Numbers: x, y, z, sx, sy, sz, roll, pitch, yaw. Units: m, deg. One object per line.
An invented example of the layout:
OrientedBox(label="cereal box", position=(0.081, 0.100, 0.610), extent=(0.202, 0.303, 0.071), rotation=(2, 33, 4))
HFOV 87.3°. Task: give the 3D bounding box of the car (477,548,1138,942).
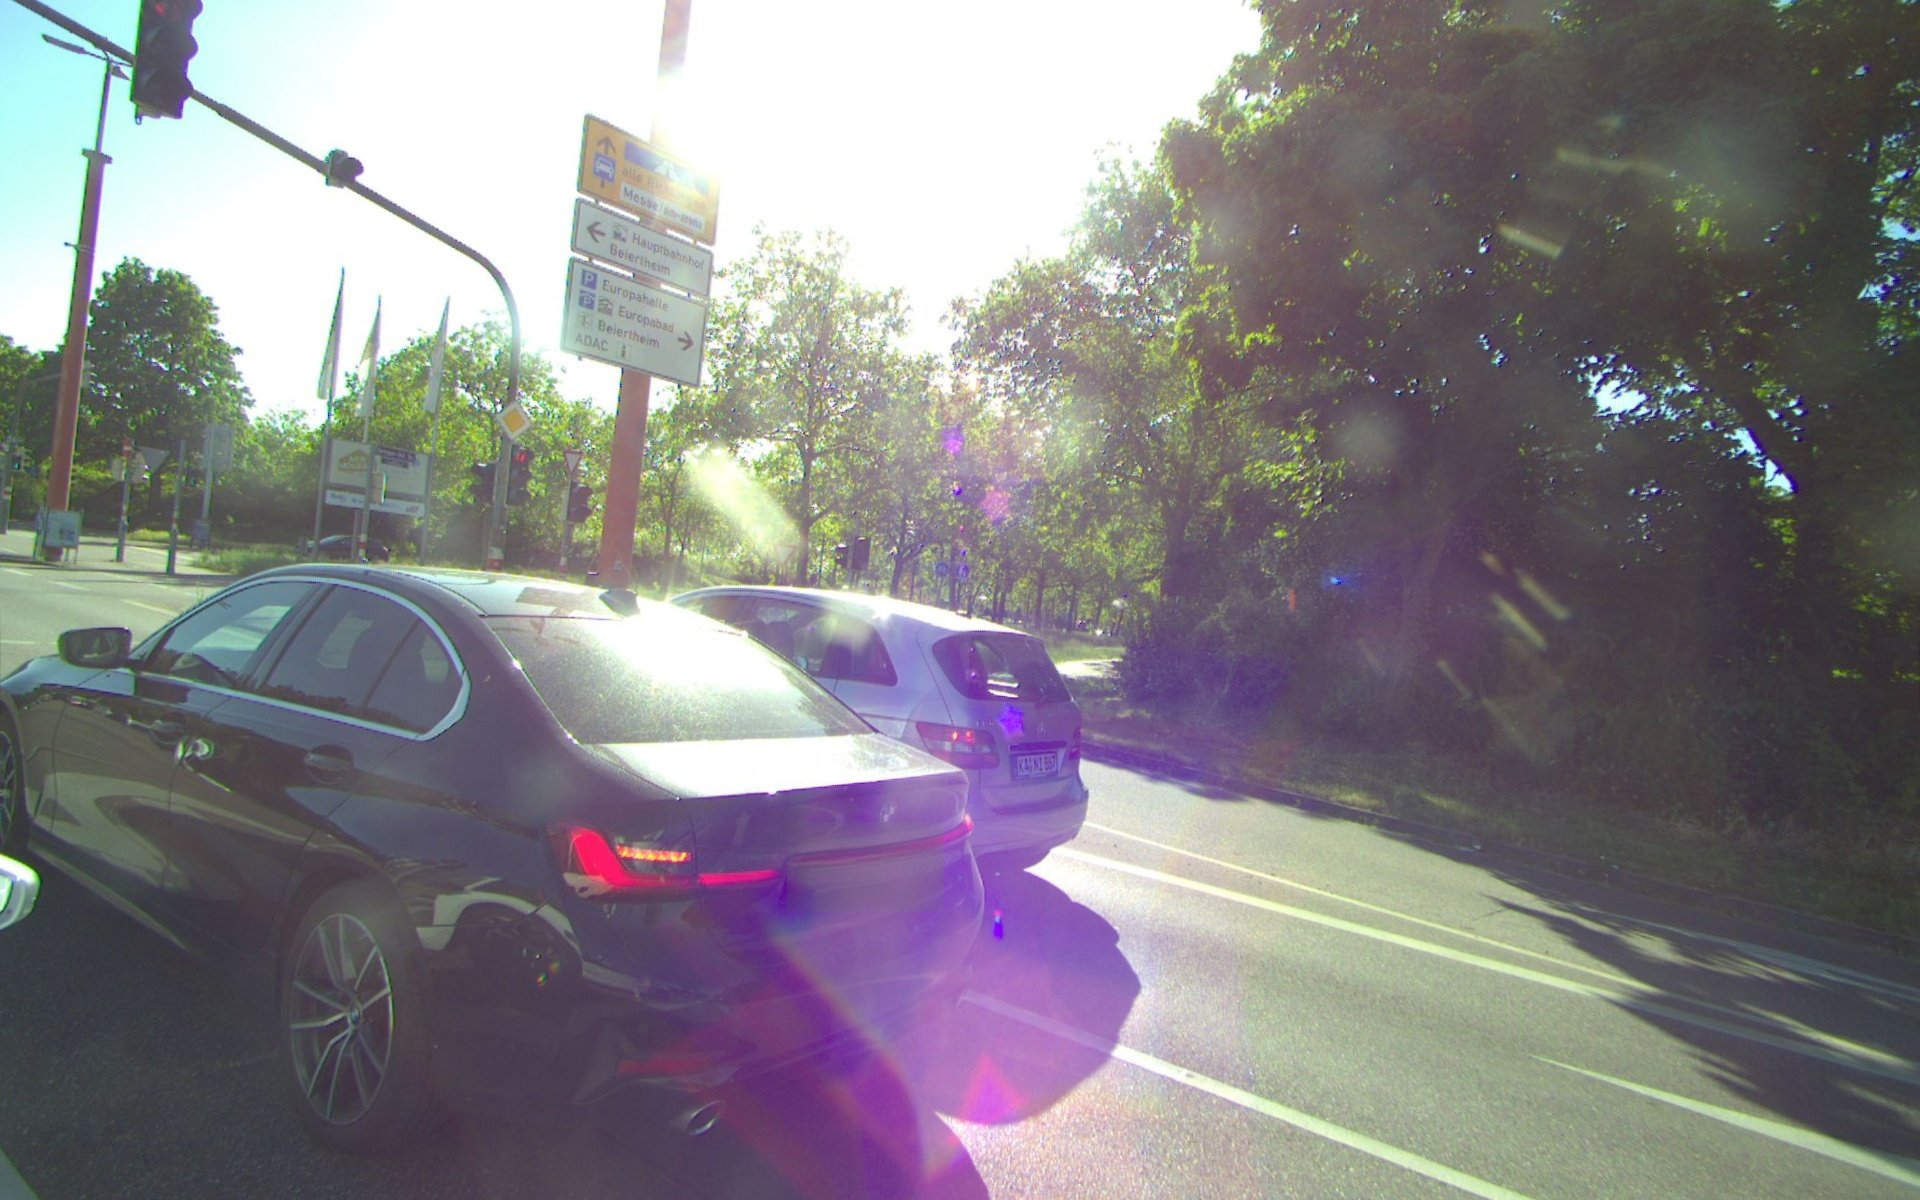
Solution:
OrientedBox(label="car", position=(-1.104, 0.697, 6.543), extent=(3.963, 1.597, 1.741), rotation=(7, 0, 33))

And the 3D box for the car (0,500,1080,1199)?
OrientedBox(label="car", position=(-1.980, 0.547, 3.861), extent=(4.372, 1.415, 1.871), rotation=(7, 0, 34))

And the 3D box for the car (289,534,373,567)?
OrientedBox(label="car", position=(-32.669, -2.544, 52.333), extent=(1.590, 1.221, 3.452), rotation=(7, -1, 17))
